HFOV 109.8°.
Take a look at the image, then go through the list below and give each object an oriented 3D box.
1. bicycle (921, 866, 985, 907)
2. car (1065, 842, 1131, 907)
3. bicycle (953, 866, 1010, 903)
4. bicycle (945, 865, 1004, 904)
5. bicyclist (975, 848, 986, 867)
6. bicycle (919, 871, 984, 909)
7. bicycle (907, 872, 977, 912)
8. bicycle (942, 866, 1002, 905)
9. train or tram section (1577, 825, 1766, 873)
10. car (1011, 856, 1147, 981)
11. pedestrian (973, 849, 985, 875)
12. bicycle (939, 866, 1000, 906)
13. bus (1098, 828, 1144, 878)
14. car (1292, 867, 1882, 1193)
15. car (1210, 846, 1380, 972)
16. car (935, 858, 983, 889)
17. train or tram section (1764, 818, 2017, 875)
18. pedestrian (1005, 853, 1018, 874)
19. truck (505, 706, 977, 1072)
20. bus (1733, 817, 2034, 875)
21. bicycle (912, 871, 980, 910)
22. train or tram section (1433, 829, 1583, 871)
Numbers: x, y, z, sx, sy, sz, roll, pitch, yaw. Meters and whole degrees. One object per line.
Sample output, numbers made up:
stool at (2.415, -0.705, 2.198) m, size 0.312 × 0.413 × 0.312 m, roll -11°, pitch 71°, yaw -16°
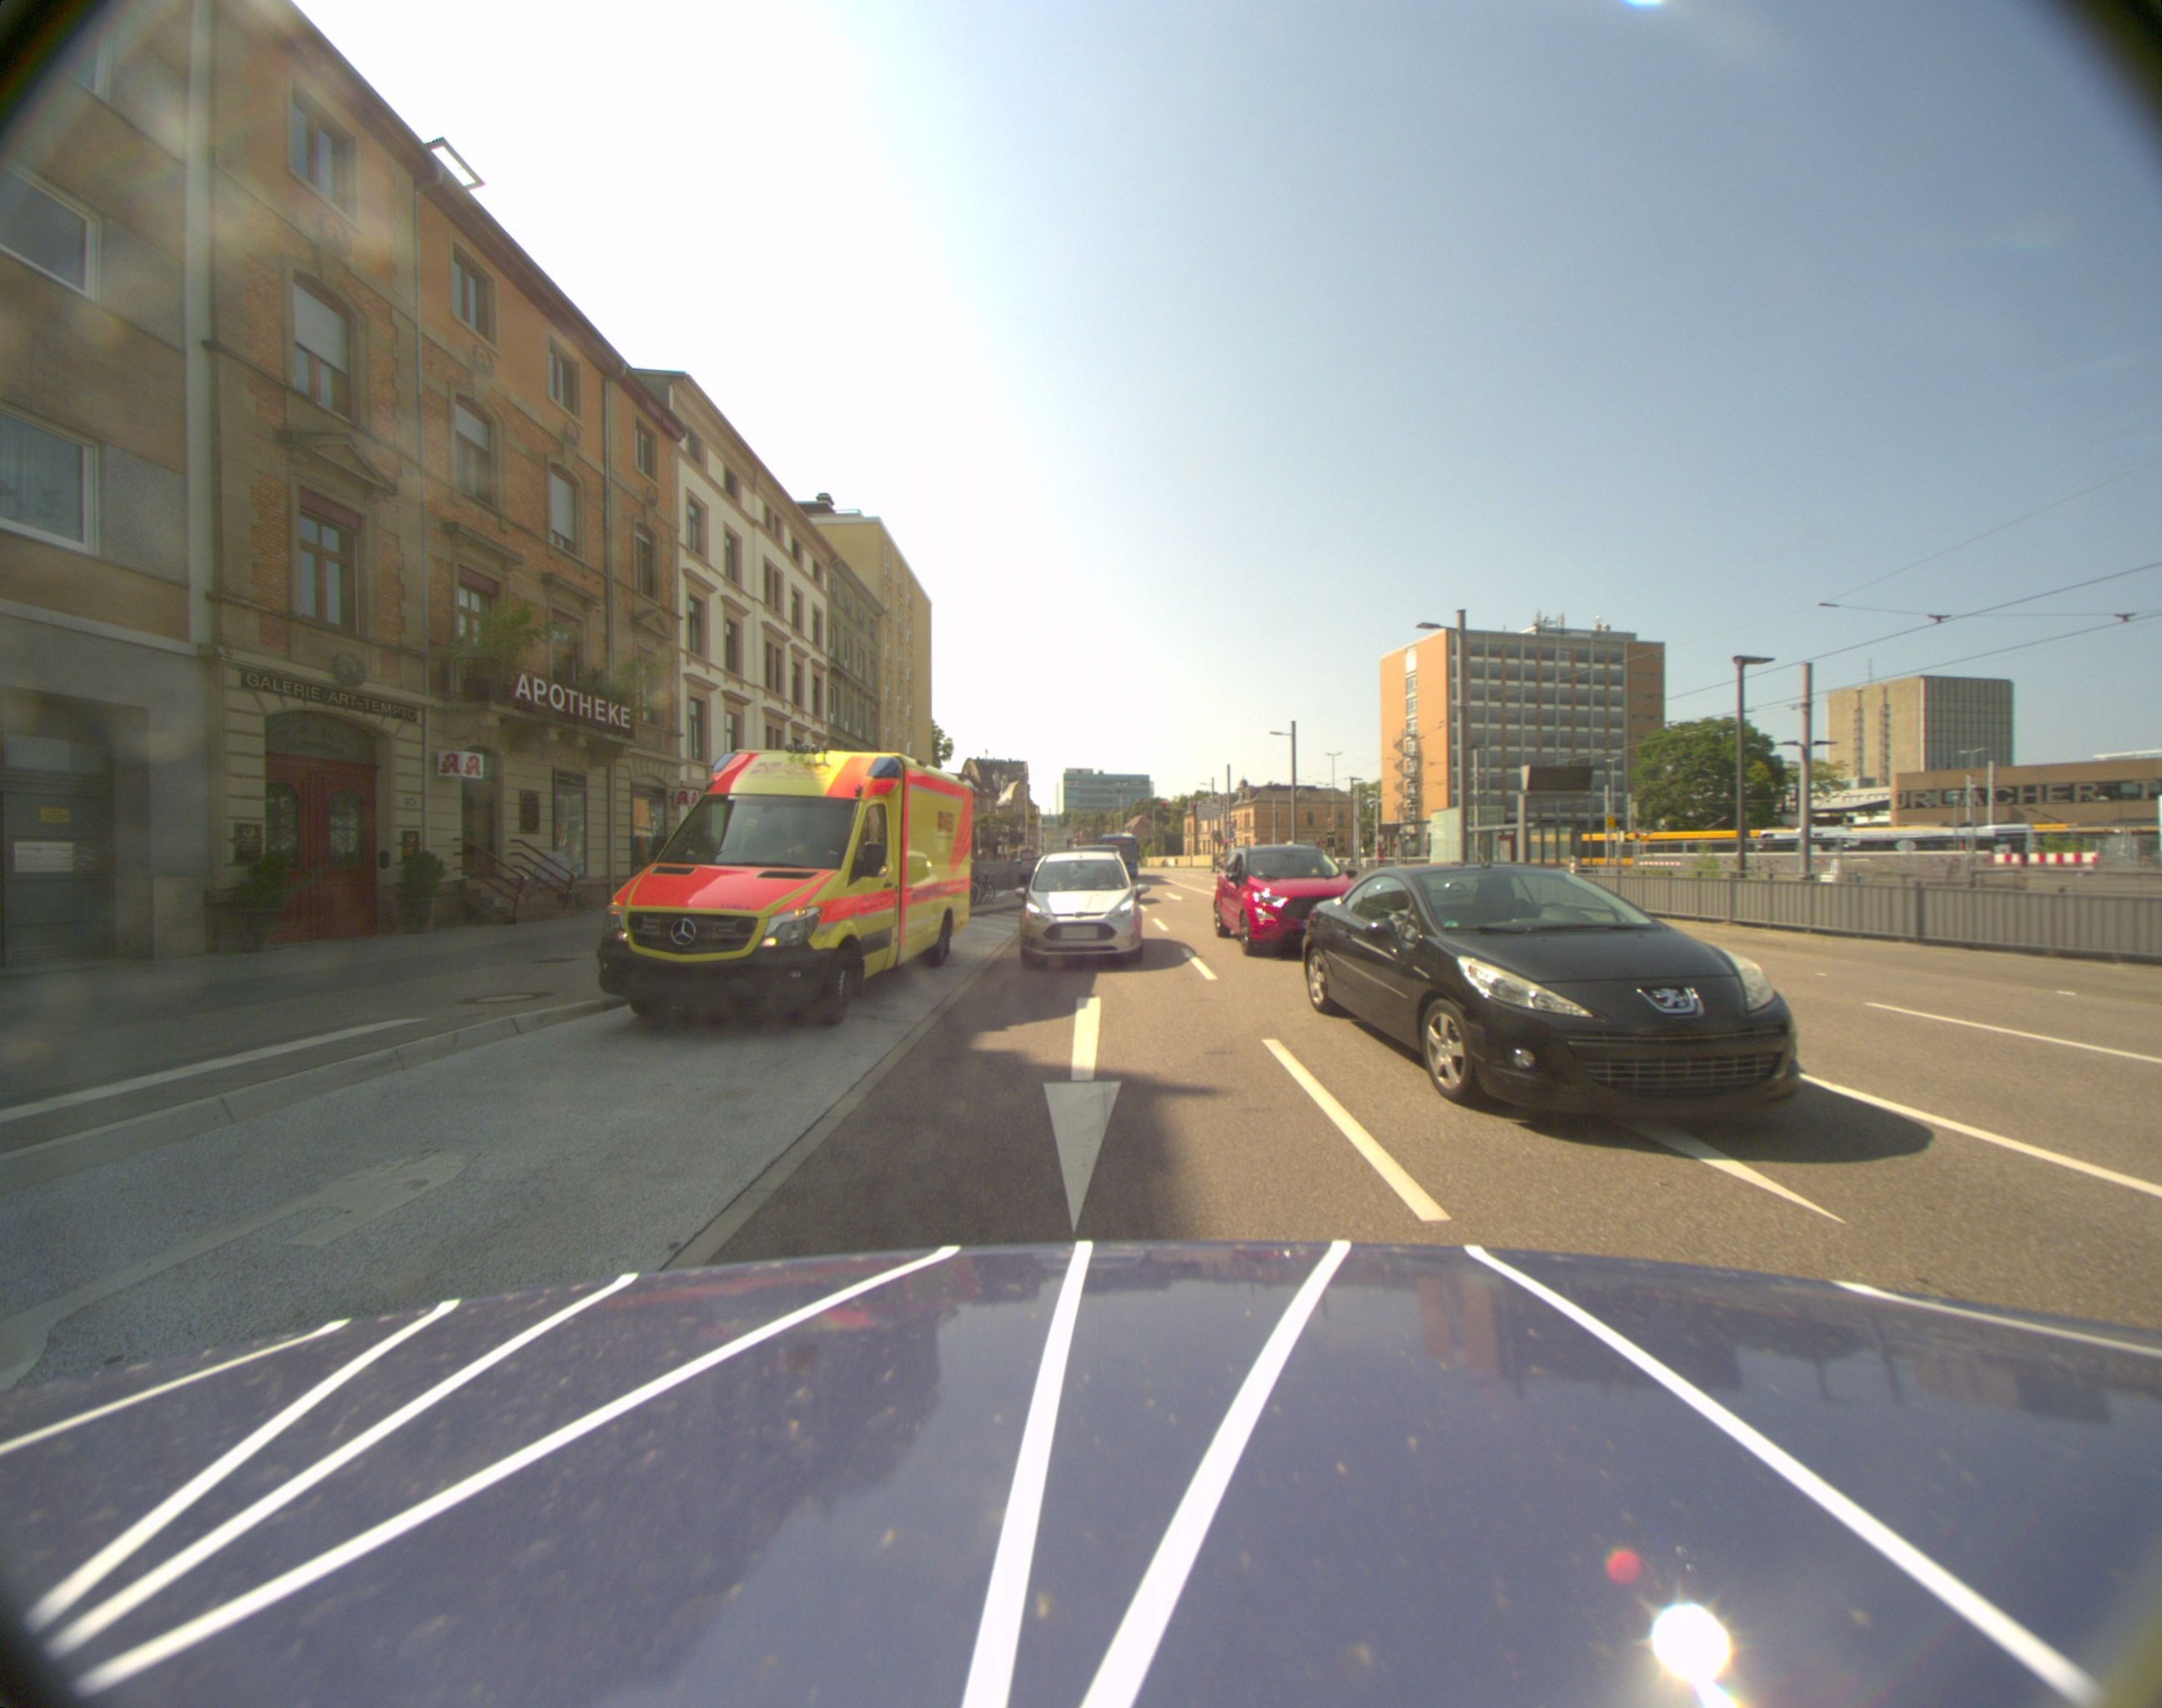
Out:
bicycle at (-3.983, 1.019, 23.726) m, size 1.841 × 1.196 × 0.549 m, roll -2°, pitch 0°, yaw 1°
car at (0.575, 0.622, 25.957) m, size 1.998 × 1.953 × 4.816 m, roll -2°, pitch 0°, yaw 1°
bicycle at (-3.405, 1.050, 26.102) m, size 1.841 × 1.196 × 0.637 m, roll -2°, pitch 0°, yaw 2°
bicycle at (-3.494, 0.991, 25.023) m, size 1.841 × 1.212 × 0.434 m, roll -2°, pitch 1°, yaw 1°
bicyclist at (-8.240, 0.295, 62.264) m, size 0.721 × 1.577 × 1.103 m, roll -1°, pitch 0°, yaw 2°
bicycle at (-3.929, 1.085, 23.108) m, size 1.841 × 1.050 × 0.657 m, roll -2°, pitch 0°, yaw 1°
bicycle at (-3.968, 1.076, 21.750) m, size 1.841 × 1.047 × 0.657 m, roll -2°, pitch 0°, yaw 1°
bicycle at (-3.506, 1.009, 24.562) m, size 1.841 × 1.196 × 0.434 m, roll -2°, pitch 1°, yaw 1°
train or tram section at (48.970, -0.359, 63.572) m, size 12.332 × 3.743 × 2.004 m, roll 0°, pitch 0°, yaw 45°
car at (0.016, 0.850, 11.900) m, size 1.728 × 1.579 × 4.000 m, roll -1°, pitch 0°, yaw 1°
pedestrian at (-6.451, 0.504, 48.075) m, size 0.645 × 1.619 × 0.796 m, roll 1°, pitch 0°, yaw -1°
bicycle at (-3.531, 1.019, 24.126) m, size 1.841 × 1.196 × 0.434 m, roll -2°, pitch 1°, yaw 1°
bus at (2.801, -0.072, 55.924) m, size 2.919 × 3.119 × 12.345 m, roll -2°, pitch 0°, yaw 2°
car at (2.896, 0.858, 5.448) m, size 1.692 × 1.405 × 3.801 m, roll -2°, pitch 0°, yaw 0°
car at (3.153, 0.721, 11.979) m, size 1.634 × 1.611 × 3.968 m, roll -2°, pitch 0°, yaw 2°
car at (-6.245, 0.973, 39.196) m, size 1.666 × 1.418 × 3.934 m, roll 2°, pitch 0°, yaw 2°
train or tram section at (57.687, -0.492, 54.878) m, size 12.332 × 3.743 × 2.004 m, roll 0°, pitch 0°, yaw 45°
pedestrian at (-5.505, 0.736, 60.217) m, size 0.644 × 1.619 × 0.798 m, roll 1°, pitch 1°, yaw 24°
truck at (-3.083, 0.241, 9.015) m, size 2.333 × 2.754 × 6.340 m, roll 2°, pitch 0°, yaw 4°
bus at (52.206, -0.385, 50.370) m, size 3.357 × 3.275 × 13.371 m, roll -3°, pitch 0°, yaw -45°
bicycle at (-3.959, 1.078, 22.417) m, size 1.841 × 1.054 × 0.657 m, roll -2°, pitch 0°, yaw 1°
train or tram section at (40.259, -0.317, 72.256) m, size 12.332 × 3.743 × 2.004 m, roll 0°, pitch 0°, yaw 45°
